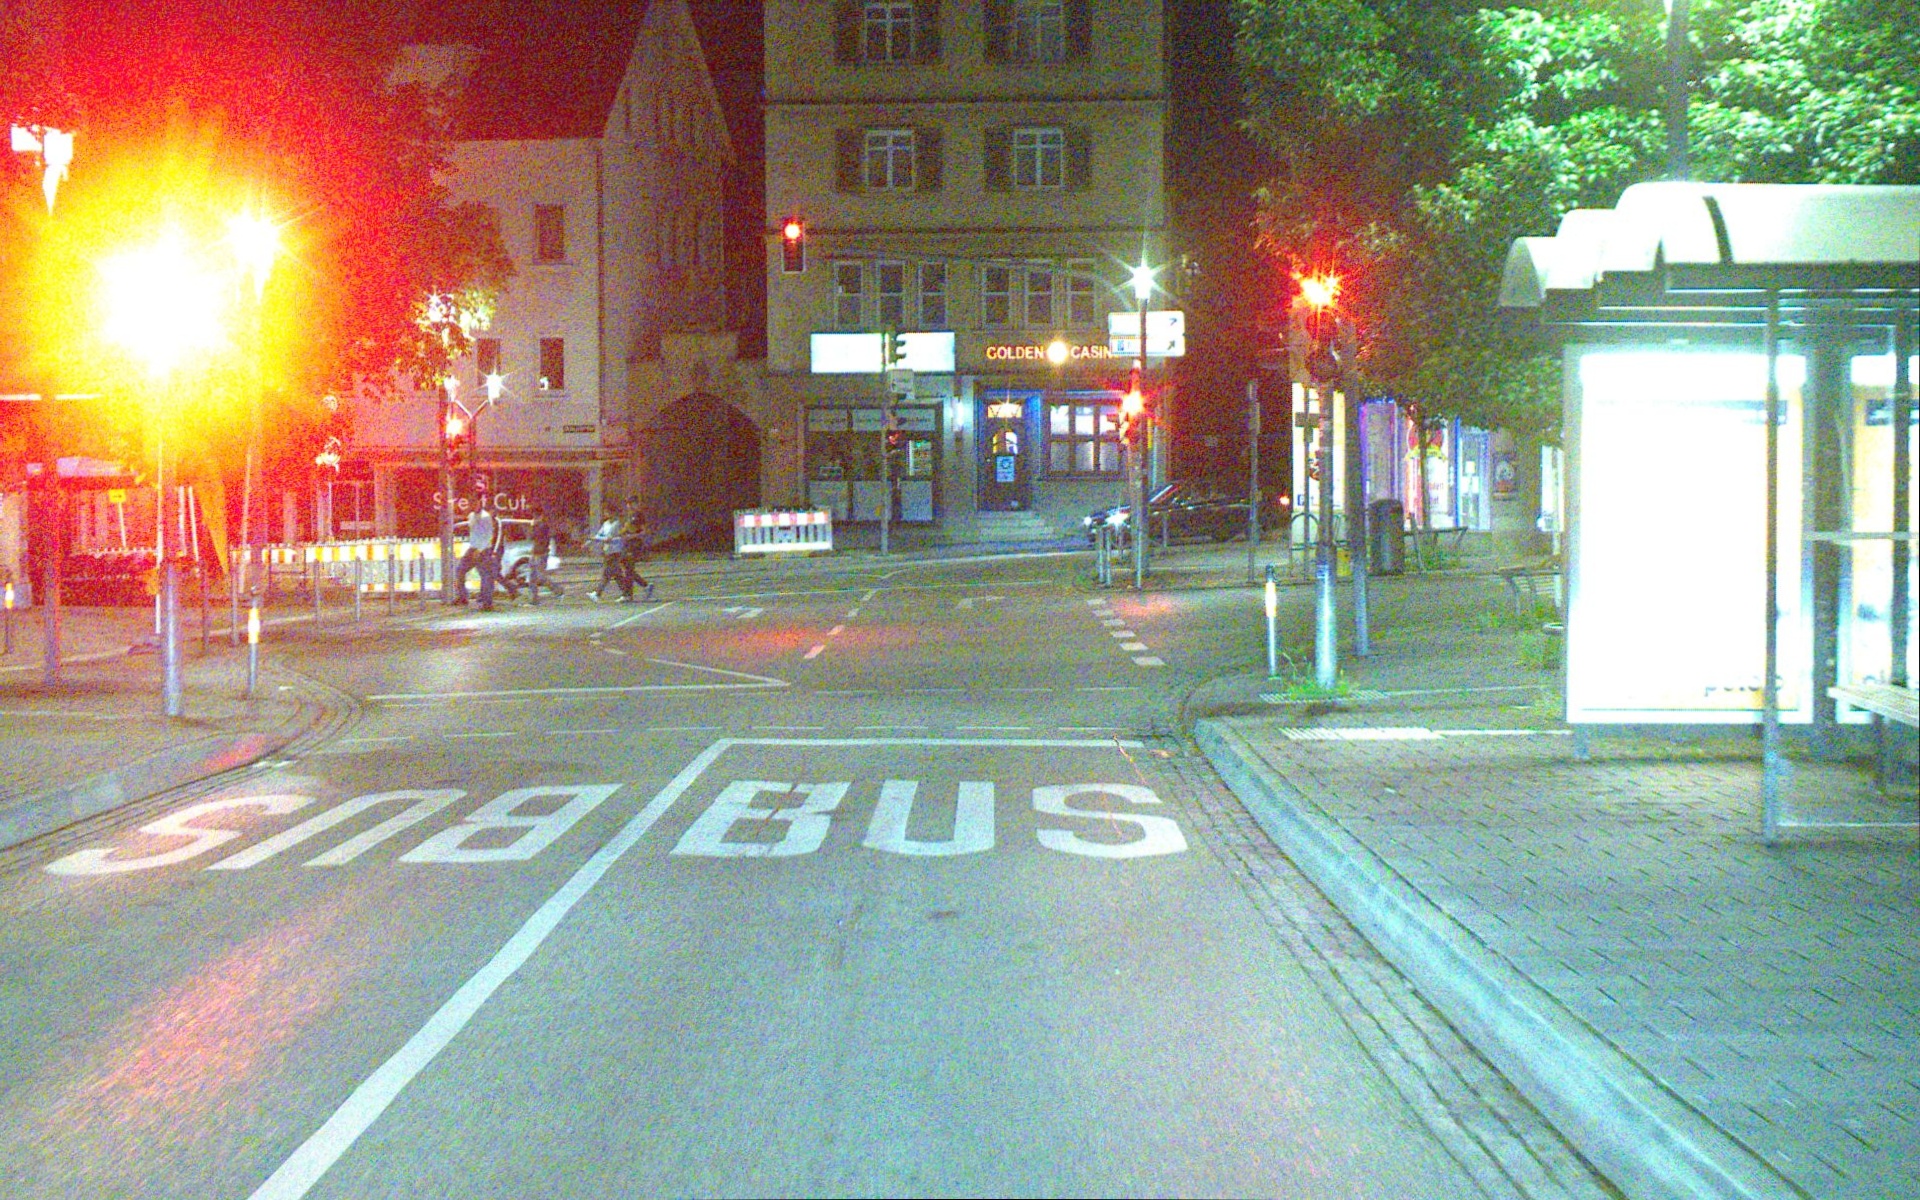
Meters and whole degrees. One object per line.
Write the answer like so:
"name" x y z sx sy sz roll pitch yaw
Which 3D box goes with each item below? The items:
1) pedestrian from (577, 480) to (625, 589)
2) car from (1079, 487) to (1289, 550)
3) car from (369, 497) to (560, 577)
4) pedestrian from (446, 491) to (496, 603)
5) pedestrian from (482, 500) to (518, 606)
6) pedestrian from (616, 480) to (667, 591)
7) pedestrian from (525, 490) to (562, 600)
"pedestrian" -5.931 -1.075 56.783 0.567 1.789 0.718 1 0 -25
"car" 5.032 -1.815 77.185 4.416 1.293 1.642 1 0 -20
"car" -10.499 -1.327 73.055 3.752 1.612 1.835 1 0 1
"pedestrian" -7.860 -0.845 55.282 0.715 1.789 0.570 1 0 -14
"pedestrian" -7.843 -0.799 58.565 0.567 1.789 0.718 1 0 -9
"pedestrian" -5.208 -1.044 56.220 0.734 1.789 0.718 1 0 -11
"pedestrian" -6.864 -0.897 56.694 0.567 1.789 0.718 1 0 -5
